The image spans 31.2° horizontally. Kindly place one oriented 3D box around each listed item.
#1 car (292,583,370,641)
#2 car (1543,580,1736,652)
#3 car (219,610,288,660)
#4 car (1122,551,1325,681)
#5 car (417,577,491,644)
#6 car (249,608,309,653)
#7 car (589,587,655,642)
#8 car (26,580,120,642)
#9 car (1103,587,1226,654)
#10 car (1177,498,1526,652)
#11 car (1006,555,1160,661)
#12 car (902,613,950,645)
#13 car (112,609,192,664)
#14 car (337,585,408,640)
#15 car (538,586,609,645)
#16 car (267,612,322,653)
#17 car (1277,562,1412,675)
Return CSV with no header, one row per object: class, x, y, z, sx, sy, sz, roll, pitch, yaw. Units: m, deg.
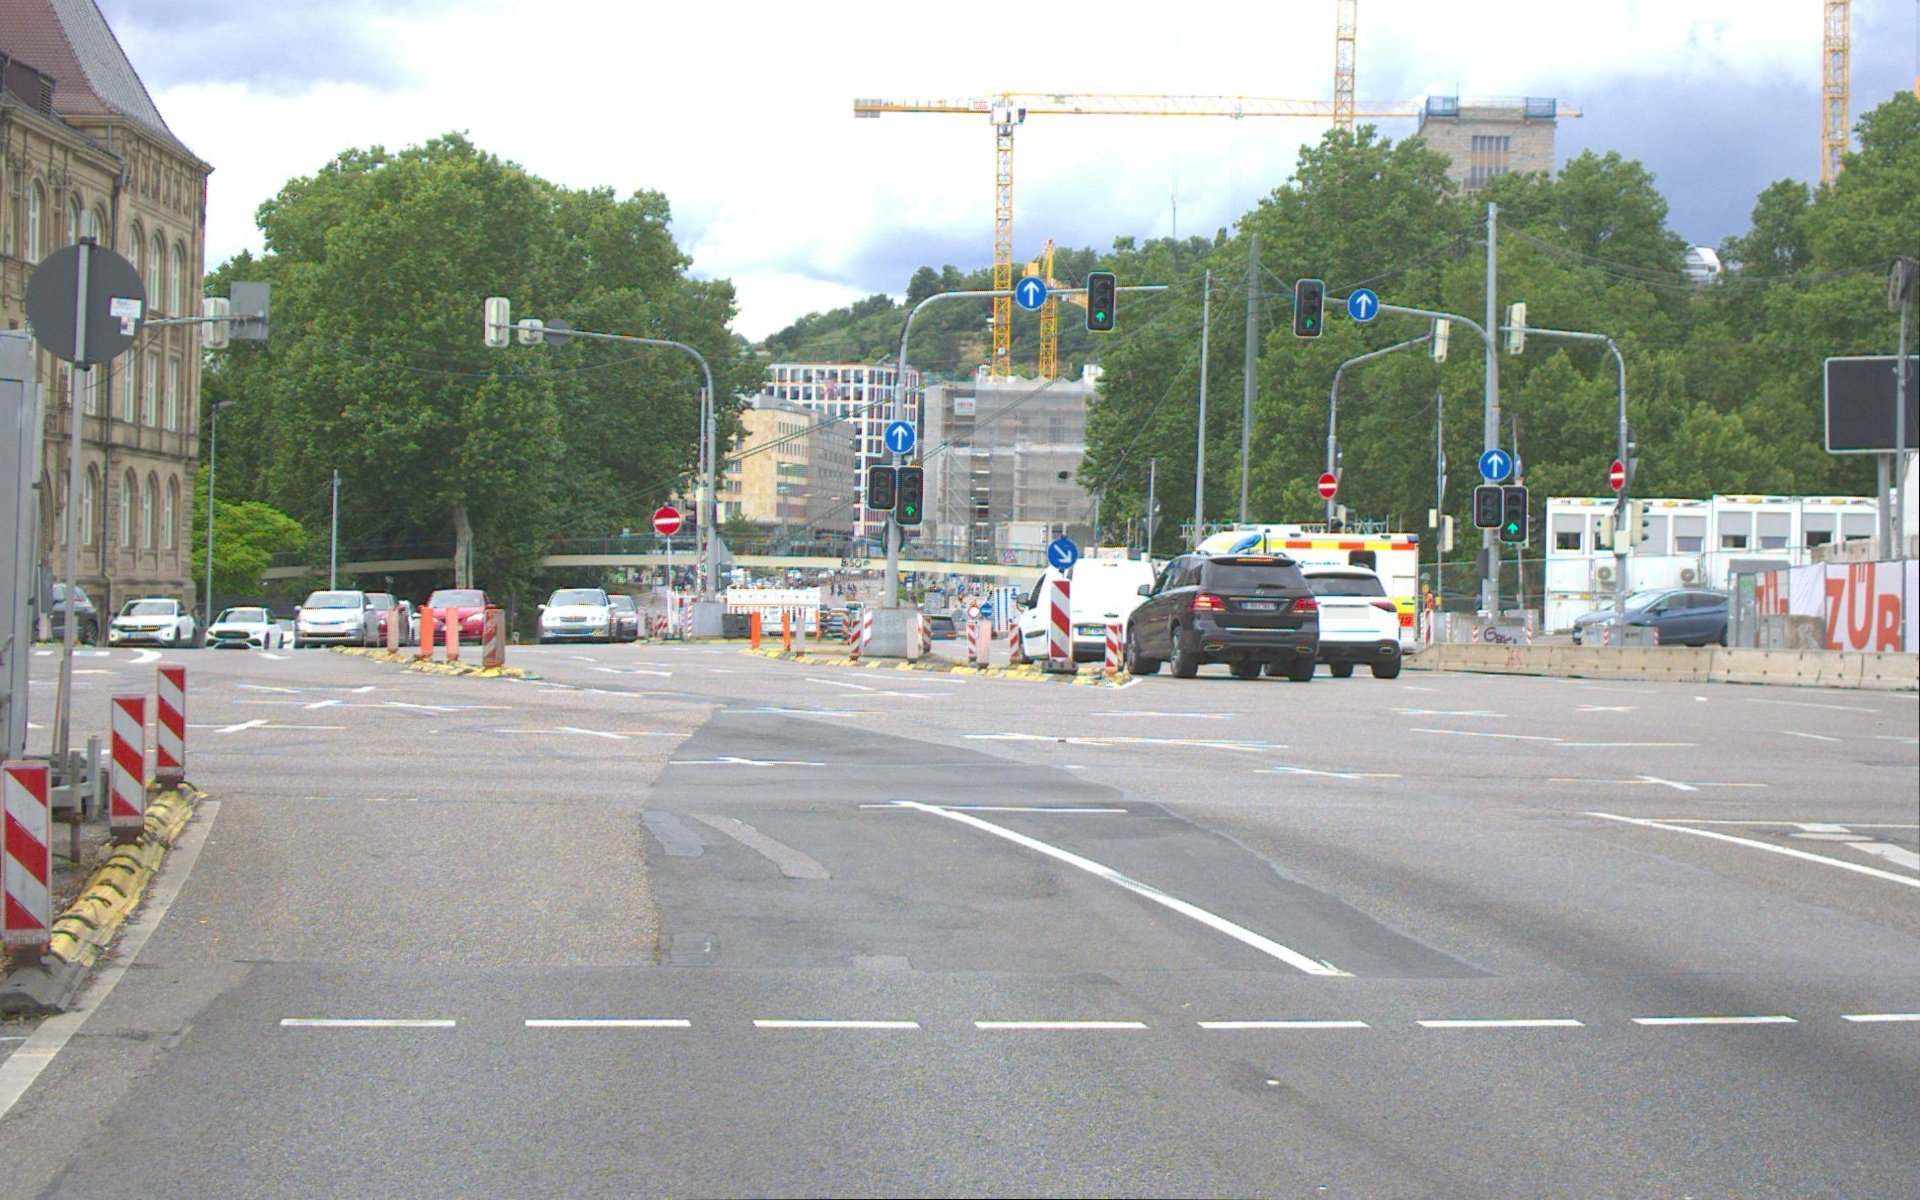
car,-15.647,0.284,85.631,1.675,1.393,3.684,1,1,-7
car,15.750,0.365,79.727,3.986,1.619,1.823,1,1,-19
car,-21.924,1.083,106.779,1.675,1.393,3.684,2,1,-6
car,3.655,0.189,48.482,1.831,1.740,4.257,1,1,-10
car,-12.453,0.245,84.721,1.675,1.575,3.684,1,1,-7
car,-22.886,1.018,115.627,1.675,1.393,3.684,1,1,-7
car,-9.052,0.381,92.002,1.675,1.393,3.684,1,1,-7
car,-21.136,0.247,82.041,1.675,1.393,3.684,1,1,-7
car,4.500,0.442,75.990,1.675,1.393,3.087,1,1,-19
car,8.066,-0.496,70.901,6.735,3.041,2.373,1,0,-18
car,1.946,0.102,55.528,1.816,1.619,4.001,1,1,-8
car,-1.302,1.089,129.399,1.308,1.071,3.684,1,1,-8
car,-21.804,0.966,92.854,1.675,1.393,3.684,1,1,-7
car,-15.667,0.320,91.793,1.675,1.393,3.684,1,1,-7
car,-9.562,0.371,85.034,1.675,1.393,3.684,1,1,-7
car,-24.362,1.178,125.975,1.675,1.393,3.684,1,1,-7
car,5.974,0.261,53.699,1.676,1.696,3.374,1,1,-1
